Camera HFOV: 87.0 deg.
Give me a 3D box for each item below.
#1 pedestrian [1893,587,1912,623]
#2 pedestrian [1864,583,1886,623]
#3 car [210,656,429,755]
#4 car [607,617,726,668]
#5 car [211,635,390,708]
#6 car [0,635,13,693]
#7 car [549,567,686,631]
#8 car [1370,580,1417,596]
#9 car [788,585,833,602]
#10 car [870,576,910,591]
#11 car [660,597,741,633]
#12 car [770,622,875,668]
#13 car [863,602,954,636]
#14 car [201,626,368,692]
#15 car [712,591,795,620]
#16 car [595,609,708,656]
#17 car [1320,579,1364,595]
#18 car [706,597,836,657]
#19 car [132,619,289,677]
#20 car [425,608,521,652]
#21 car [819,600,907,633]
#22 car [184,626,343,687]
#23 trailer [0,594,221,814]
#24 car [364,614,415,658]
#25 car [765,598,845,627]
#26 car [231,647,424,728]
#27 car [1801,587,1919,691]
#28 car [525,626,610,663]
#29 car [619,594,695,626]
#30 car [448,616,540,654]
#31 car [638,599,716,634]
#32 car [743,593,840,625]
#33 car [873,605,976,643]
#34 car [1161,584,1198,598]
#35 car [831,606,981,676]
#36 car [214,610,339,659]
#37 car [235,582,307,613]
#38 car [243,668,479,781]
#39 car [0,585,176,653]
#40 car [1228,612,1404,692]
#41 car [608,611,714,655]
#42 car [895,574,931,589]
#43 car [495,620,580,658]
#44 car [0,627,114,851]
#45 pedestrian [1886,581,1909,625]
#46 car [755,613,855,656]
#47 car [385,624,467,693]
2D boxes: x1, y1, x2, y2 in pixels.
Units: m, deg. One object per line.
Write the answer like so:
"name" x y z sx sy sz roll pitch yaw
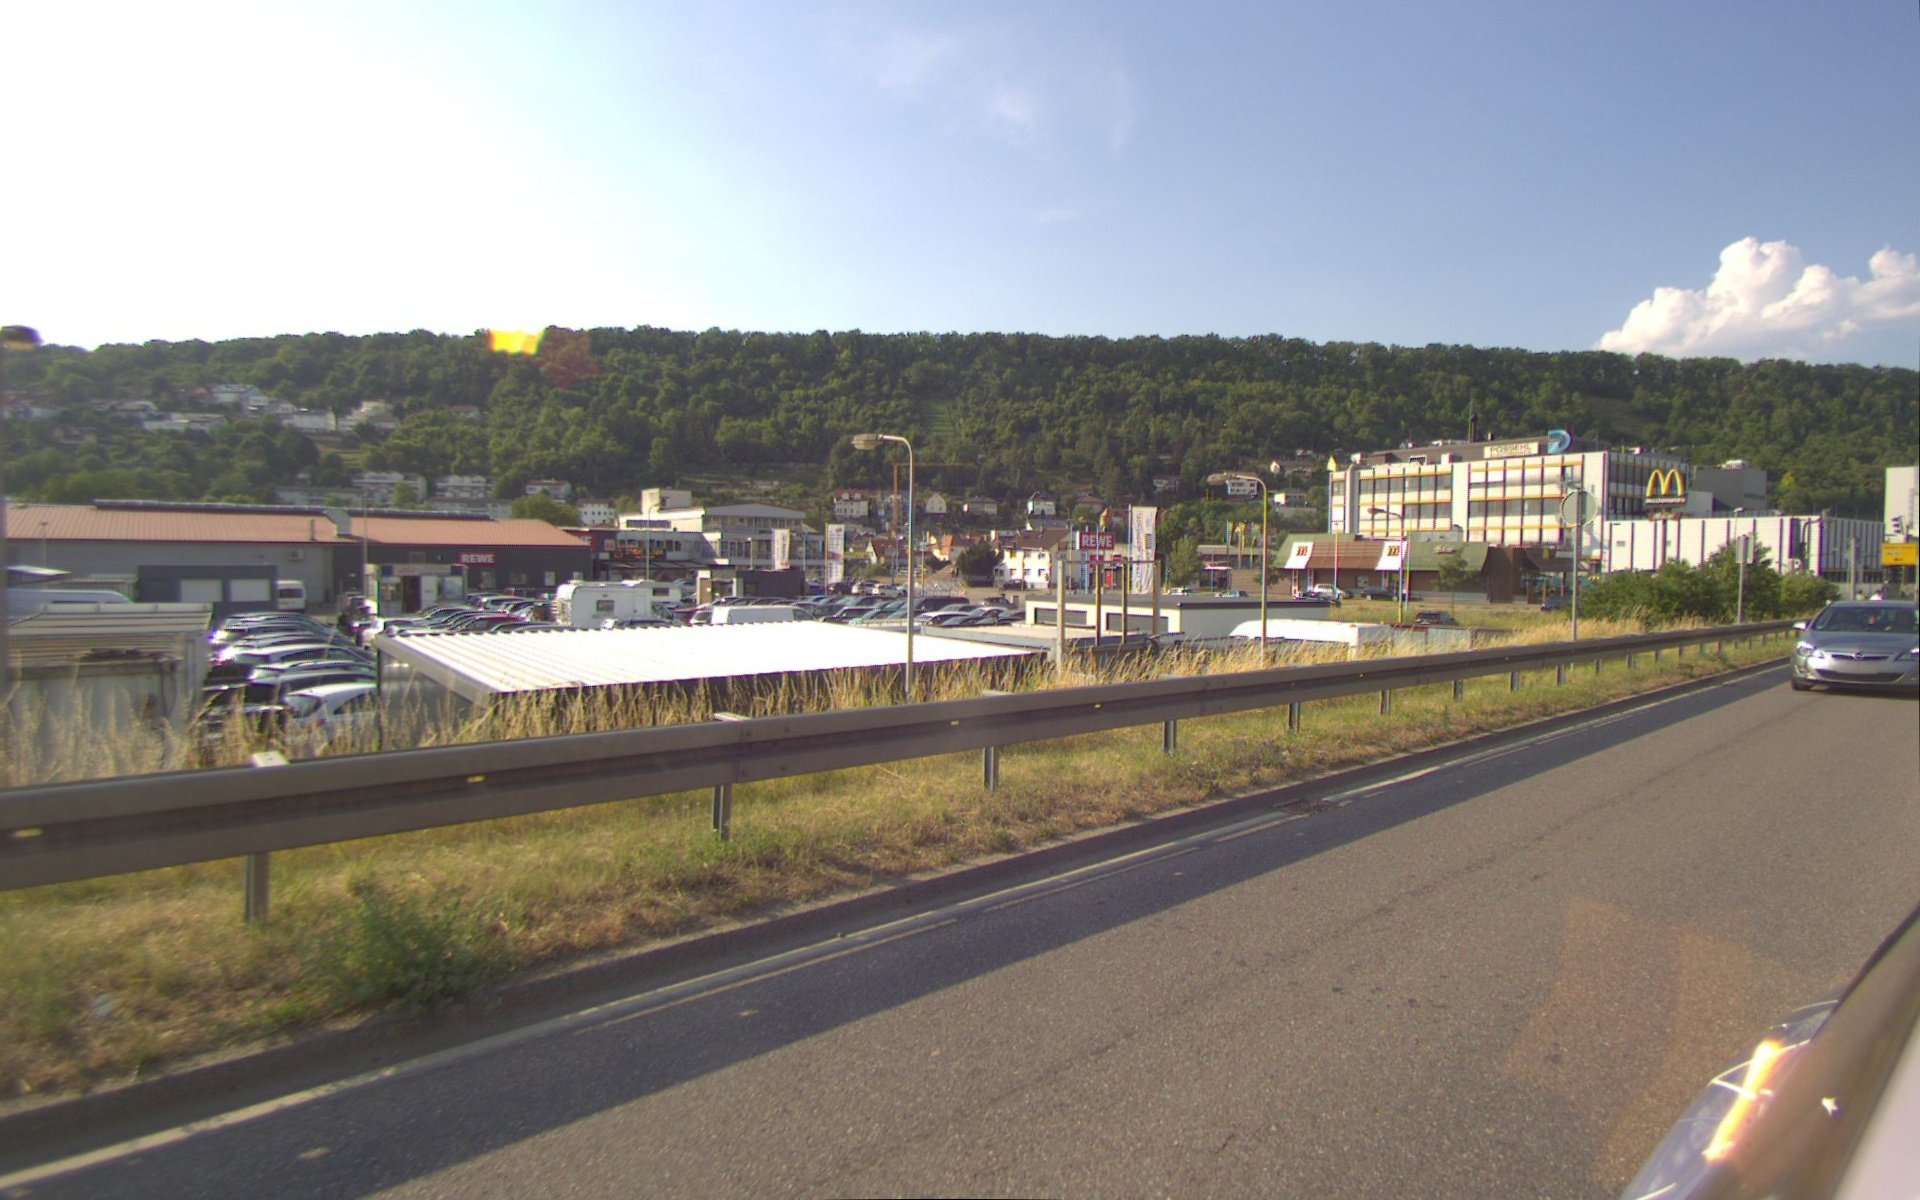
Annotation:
"pedestrian" 43.495 0.210 46.699 0.572 1.634 0.613 3 3 44
"pedestrian" 41.589 0.122 45.981 0.527 1.770 0.533 -1 5 -37
"car" -13.926 2.215 22.222 1.710 1.667 3.743 -1 1 25
"car" -11.044 1.560 38.209 3.928 1.660 1.759 -2 1 -38
"car" -17.460 1.823 26.972 1.661 1.589 3.750 -1 1 21
"car" -27.473 1.855 27.558 1.766 1.562 4.346 -1 1 -34
"car" -14.843 -0.101 44.028 5.371 2.581 1.759 -2 1 -39
"car" 43.702 -1.198 102.032 1.828 1.475 3.996 -2 3 -39
"car" -14.927 -0.654 101.165 4.268 1.582 1.834 -2 3 -43
"car" -7.646 -1.809 110.766 4.268 1.582 1.834 -2 3 -43
"car" -13.016 0.729 50.938 1.709 1.649 4.159 -1 1 25
"car" -5.269 1.680 38.942 3.600 1.522 1.771 -2 1 -31
"car" -2.671 0.986 52.682 4.388 1.585 1.764 -1 1 -25
"car" -19.432 1.643 29.276 1.662 1.589 3.747 -1 1 23
"car" -13.061 0.318 63.972 4.901 1.710 1.765 -1 1 -20
"car" -12.213 1.239 40.213 3.928 1.660 1.759 -2 1 -38
"car" 40.086 -1.376 106.325 1.828 1.475 3.996 -2 3 -40
"car" -7.956 1.089 42.933 5.202 2.274 1.759 -2 1 -39
"car" -23.894 1.492 32.415 1.662 1.589 3.747 -1 1 23
"car" -20.334 1.225 42.398 3.367 1.636 1.810 -1 1 -18
"car" -5.229 0.872 54.319 4.386 1.585 1.765 -1 1 -20
"car" -21.471 1.682 31.355 1.662 1.589 3.747 -1 1 23
"trailer" -16.424 1.613 19.600 3.296 3.364 7.902 -1 1 -37
"car" -24.057 1.470 42.619 1.614 1.689 3.650 -1 1 -33
"car" -8.794 0.680 57.335 4.386 1.478 1.764 -1 1 -13
"car" -15.496 2.076 24.992 1.664 1.589 3.743 -1 1 25
"car" 14.943 0.548 16.203 3.817 1.408 1.689 -2 2 -41
"car" -13.819 1.538 35.737 2.707 1.138 1.279 -1 1 -19
"car" -16.720 0.532 56.064 1.709 1.649 4.159 -1 1 25
"car" -18.279 1.340 39.732 3.067 1.315 1.376 -2 1 -37
"car" -14.826 0.848 53.273 1.709 1.649 4.159 -1 1 25
"car" -9.935 0.502 59.730 5.365 1.710 1.765 -1 1 -20
"car" -1.636 1.088 47.580 4.741 1.585 1.759 -2 1 -38
"car" 22.850 -0.932 105.484 1.658 1.438 3.652 -1 1 -36
"car" -1.690 1.260 33.013 4.741 1.976 1.759 -2 1 -38
"car" -26.465 1.297 39.317 1.751 1.705 3.642 -1 1 25
"car" -48.470 -0.195 71.247 3.932 2.039 1.996 -2 1 -42
"car" -11.784 2.371 20.179 1.710 1.667 3.743 -1 1 25
"car" -34.913 0.692 40.694 5.229 2.468 1.999 -2 1 -36
"car" 9.197 1.271 26.389 1.802 1.838 3.995 -2 1 -39
"car" -12.733 1.379 43.182 3.928 1.660 1.759 -2 1 -38
"car" -5.341 -2.149 115.253 3.933 1.676 1.788 -2 1 -43
"car" -15.680 1.437 37.647 2.810 1.243 1.363 -1 1 -19
"car" -9.580 1.242 9.942 1.868 1.772 3.995 -2 1 -39
"pedestrian" 41.046 0.117 44.320 0.847 1.906 0.619 -1 3 -43
"car" -6.310 1.375 41.236 3.600 1.522 1.771 -2 1 -31
"car" -17.992 1.892 34.029 1.797 2.039 3.646 -1 1 -38
